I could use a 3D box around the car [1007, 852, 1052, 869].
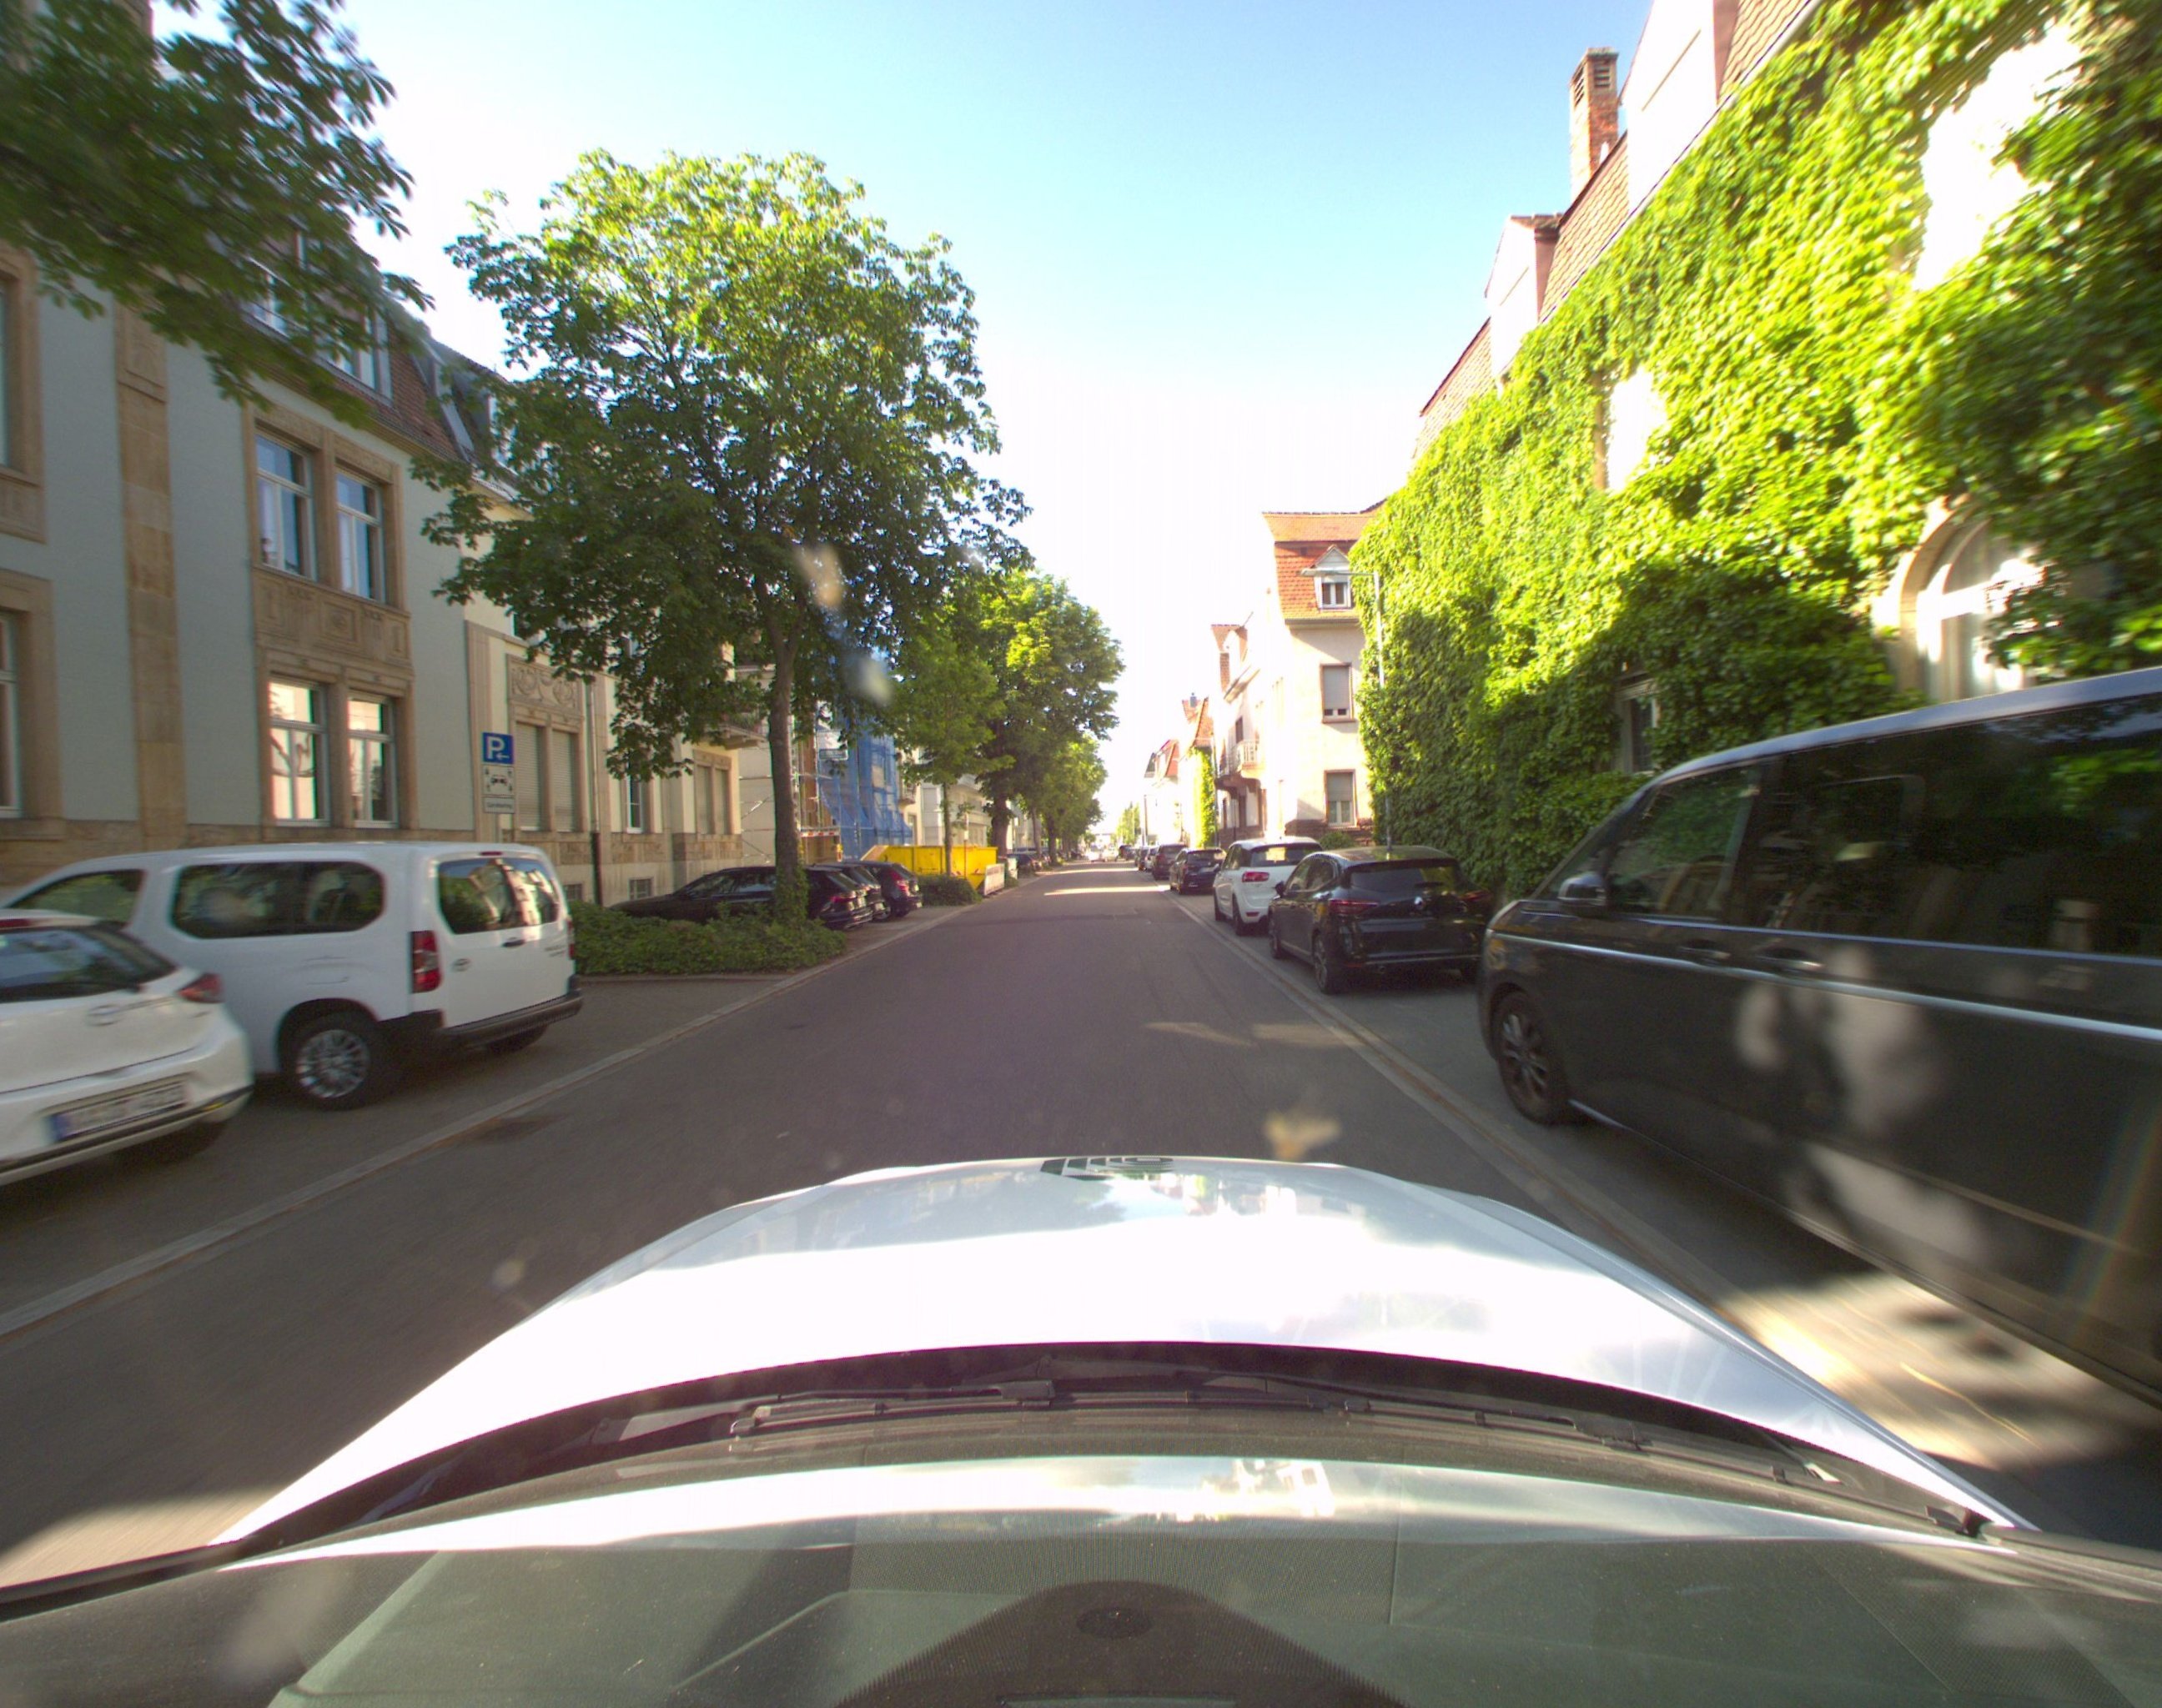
[{"bbox_3d":[-4.510,0.551,71.644,3.910,1.414,1.715,-1,1,-1],"label":"car"}]

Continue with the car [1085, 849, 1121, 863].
[{"bbox_3d":[2.353,0.186,86.734,1.710,1.420,3.985,-1,-1,39],"label":"car"}]

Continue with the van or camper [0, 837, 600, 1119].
[{"bbox_3d":[-6.265,0.818,6.286,3.930,1.773,1.810,-2,1,0],"label":"van or camper"}]

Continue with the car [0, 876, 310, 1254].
[{"bbox_3d":[-6.348,0.951,3.838,3.712,1.516,1.722,-2,0,0],"label":"car"}]

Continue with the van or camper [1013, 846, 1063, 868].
[{"bbox_3d":[-4.028,0.271,77.160,4.481,1.914,1.965,-2,0,1],"label":"van or camper"}]

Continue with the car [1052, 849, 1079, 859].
[{"bbox_3d":[-2.597,-0.014,134.810,4.460,1.479,1.868,-1,-1,-1],"label":"car"}]

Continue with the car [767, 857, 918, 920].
[{"bbox_3d":[-6.465,0.924,22.344,3.536,1.448,1.696,-3,0,2],"label":"car"}]

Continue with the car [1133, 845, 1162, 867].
[{"bbox_3d":[4.920,0.175,60.611,1.785,1.520,4.368,-4,-1,1],"label":"car"}]

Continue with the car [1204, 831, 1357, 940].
[{"bbox_3d":[3.493,0.479,15.068,1.860,1.644,4.201,-3,0,2],"label":"car"}]

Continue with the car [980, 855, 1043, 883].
[{"bbox_3d":[-4.494,0.943,52.511,3.868,1.514,1.828,-3,0,-8],"label":"car"}]

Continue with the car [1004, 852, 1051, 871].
[{"bbox_3d":[-4.389,0.613,66.828,3.628,1.463,1.712,-1,0,3],"label":"car"}]

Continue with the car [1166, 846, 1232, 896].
[{"bbox_3d":[3.762,0.493,26.584,1.637,1.454,4.505,-2,0,2],"label":"car"}]

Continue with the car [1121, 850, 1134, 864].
[{"bbox_3d":[6.928,0.473,121.131,1.864,1.905,5.201,-3,0,3],"label":"car"}]

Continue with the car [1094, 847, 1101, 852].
[{"bbox_3d":[5.155,-1.329,253.676,1.784,1.532,3.994,-2,0,-4],"label":"car"}]

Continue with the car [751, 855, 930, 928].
[{"bbox_3d":[-5.787,0.873,19.894,3.711,1.464,1.716,-3,1,2],"label":"car"}]

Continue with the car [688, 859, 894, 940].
[{"bbox_3d":[-6.134,0.946,17.506,3.733,1.431,1.647,-3,0,1],"label":"car"}]

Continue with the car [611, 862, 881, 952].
[{"bbox_3d":[-5.949,0.922,14.780,4.124,1.401,1.711,-1,1,1],"label":"car"}]

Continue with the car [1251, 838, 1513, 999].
[{"bbox_3d":[3.229,0.585,9.601,1.631,1.421,4.009,-3,0,1],"label":"car"}]

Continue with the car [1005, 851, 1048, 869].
[{"bbox_3d":[-4.593,0.480,69.214,3.464,1.458,1.799,-1,0,2],"label":"car"}]

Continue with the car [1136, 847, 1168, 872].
[{"bbox_3d":[4.655,0.377,53.841,1.703,1.436,4.194,-4,-1,1],"label":"car"}]

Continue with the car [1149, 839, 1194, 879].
[{"bbox_3d":[4.116,0.241,37.617,1.771,1.696,4.322,0,-1,2],"label":"car"}]

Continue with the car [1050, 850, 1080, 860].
[{"bbox_3d":[-2.341,0.163,119.071,4.171,1.448,1.714,0,-1,3],"label":"car"}]

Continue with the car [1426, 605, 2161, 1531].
[{"bbox_3d":[3.152,0.402,2.861,1.846,1.909,4.852,-3,0,1],"label":"car"}]

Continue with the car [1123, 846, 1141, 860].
[{"bbox_3d":[5.729,-0.146,91.907,1.614,1.439,3.934,-5,1,0],"label":"car"}]

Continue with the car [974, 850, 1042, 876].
[{"bbox_3d":[-5.104,0.630,56.781,4.585,1.607,1.828,-2,0,-8],"label":"car"}]

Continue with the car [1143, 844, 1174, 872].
[{"bbox_3d":[4.676,0.241,49.523,1.570,1.549,3.469,-4,-1,1],"label":"car"}]
